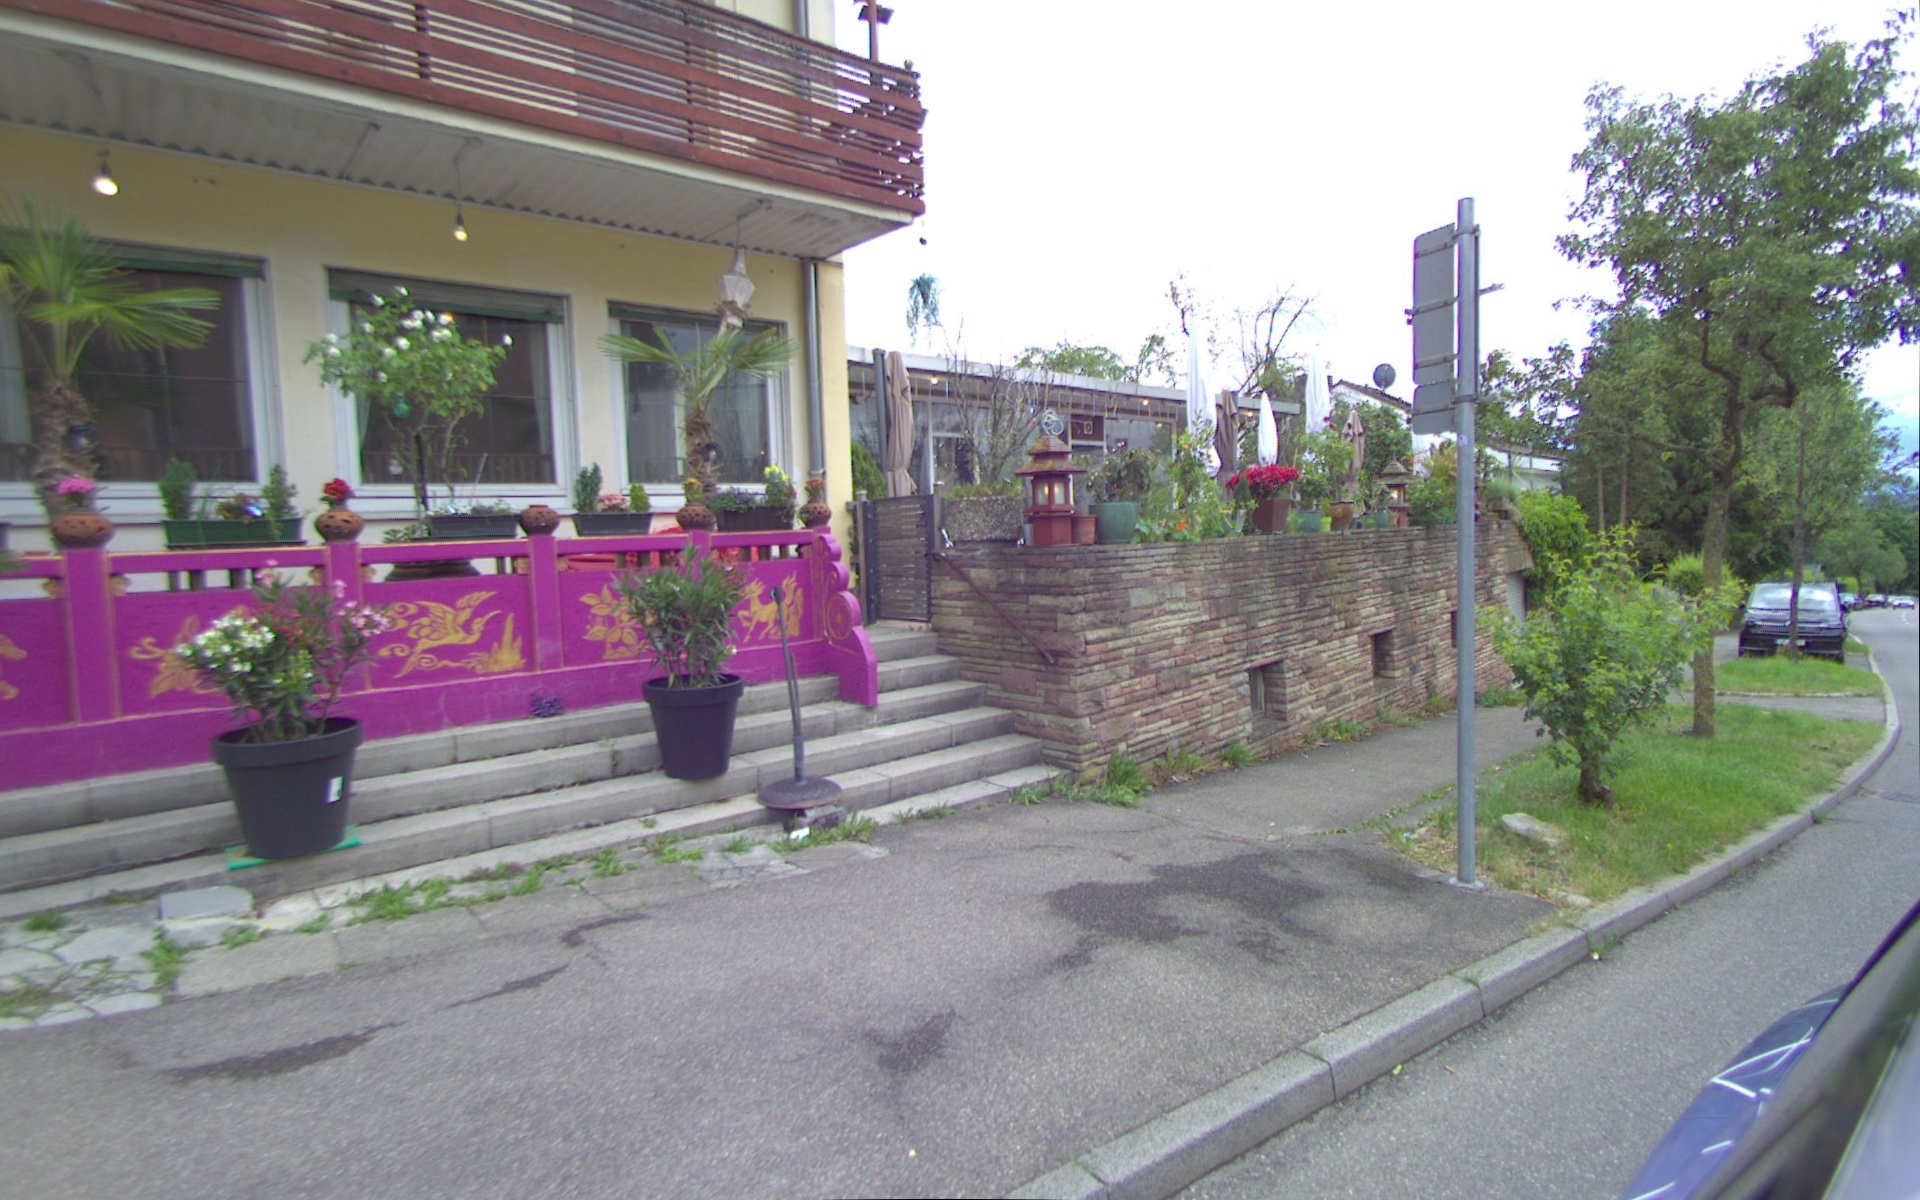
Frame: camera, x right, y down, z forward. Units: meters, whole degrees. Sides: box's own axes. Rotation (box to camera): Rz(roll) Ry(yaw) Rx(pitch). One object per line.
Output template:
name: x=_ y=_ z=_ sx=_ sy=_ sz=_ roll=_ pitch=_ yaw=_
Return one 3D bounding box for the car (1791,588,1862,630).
car: x=34.967 y=0.316 z=40.793 sx=1.993 sy=1.510 sz=4.928 roll=3 pitch=2 yaw=42

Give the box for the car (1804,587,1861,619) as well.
car: x=48.187 y=0.126 z=55.962 sx=1.996 sy=1.628 sz=4.695 roll=3 pitch=2 yaw=37

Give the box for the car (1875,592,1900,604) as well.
car: x=109.914 y=-0.247 z=119.906 sx=1.995 sy=1.244 sz=3.936 roll=2 pitch=2 yaw=45

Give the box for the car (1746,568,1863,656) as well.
car: x=20.194 y=0.221 z=24.128 sx=1.935 sy=1.860 sz=5.140 roll=2 pitch=2 yaw=42

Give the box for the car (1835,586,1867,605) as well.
car: x=76.583 y=-0.387 z=86.956 sx=1.791 sy=1.507 sz=4.308 roll=3 pitch=2 yaw=45
